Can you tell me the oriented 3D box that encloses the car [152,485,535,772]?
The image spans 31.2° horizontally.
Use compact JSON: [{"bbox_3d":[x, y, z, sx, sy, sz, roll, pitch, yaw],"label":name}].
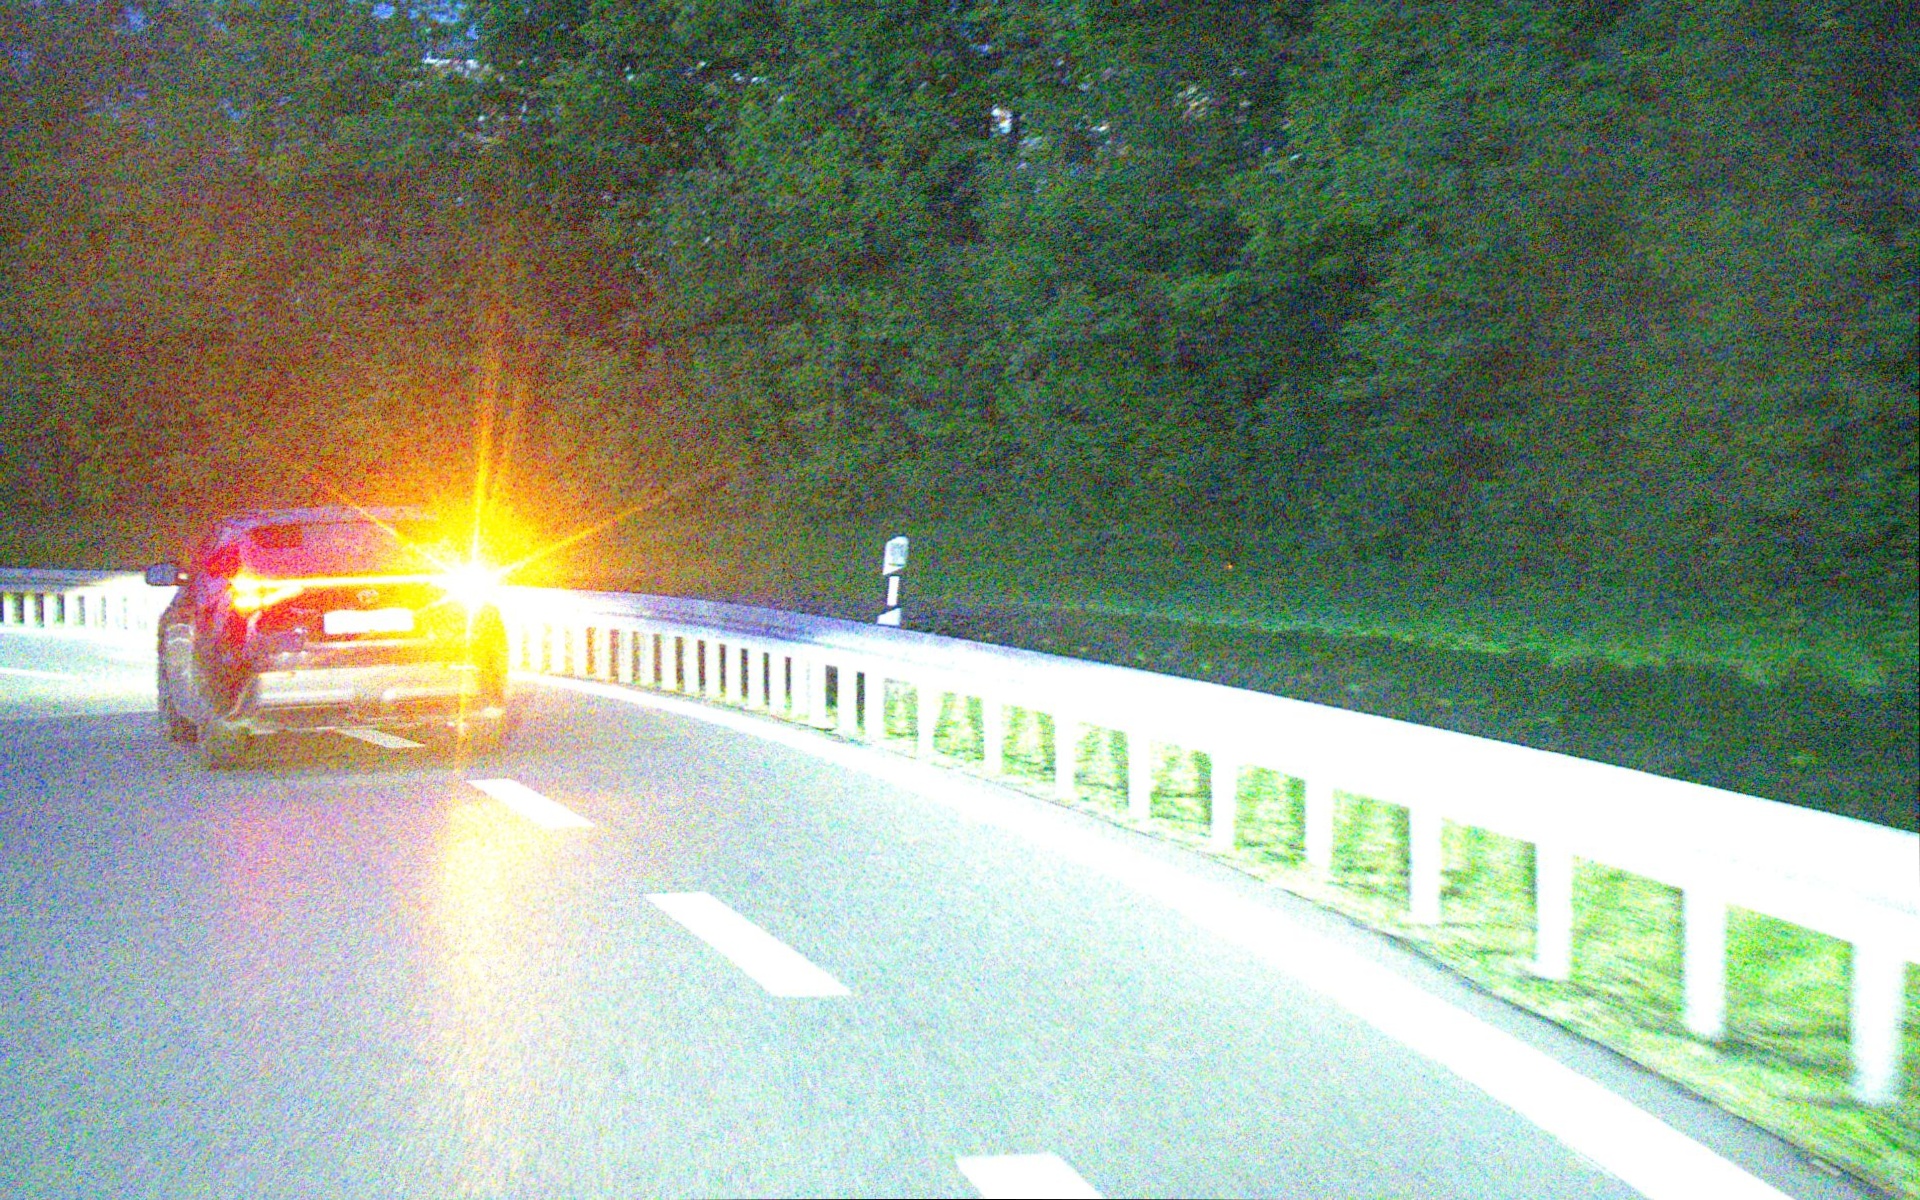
[{"bbox_3d":[-4.131,0.112,22.489,1.993,1.653,4.316,-1,2,-16],"label":"car"}]
